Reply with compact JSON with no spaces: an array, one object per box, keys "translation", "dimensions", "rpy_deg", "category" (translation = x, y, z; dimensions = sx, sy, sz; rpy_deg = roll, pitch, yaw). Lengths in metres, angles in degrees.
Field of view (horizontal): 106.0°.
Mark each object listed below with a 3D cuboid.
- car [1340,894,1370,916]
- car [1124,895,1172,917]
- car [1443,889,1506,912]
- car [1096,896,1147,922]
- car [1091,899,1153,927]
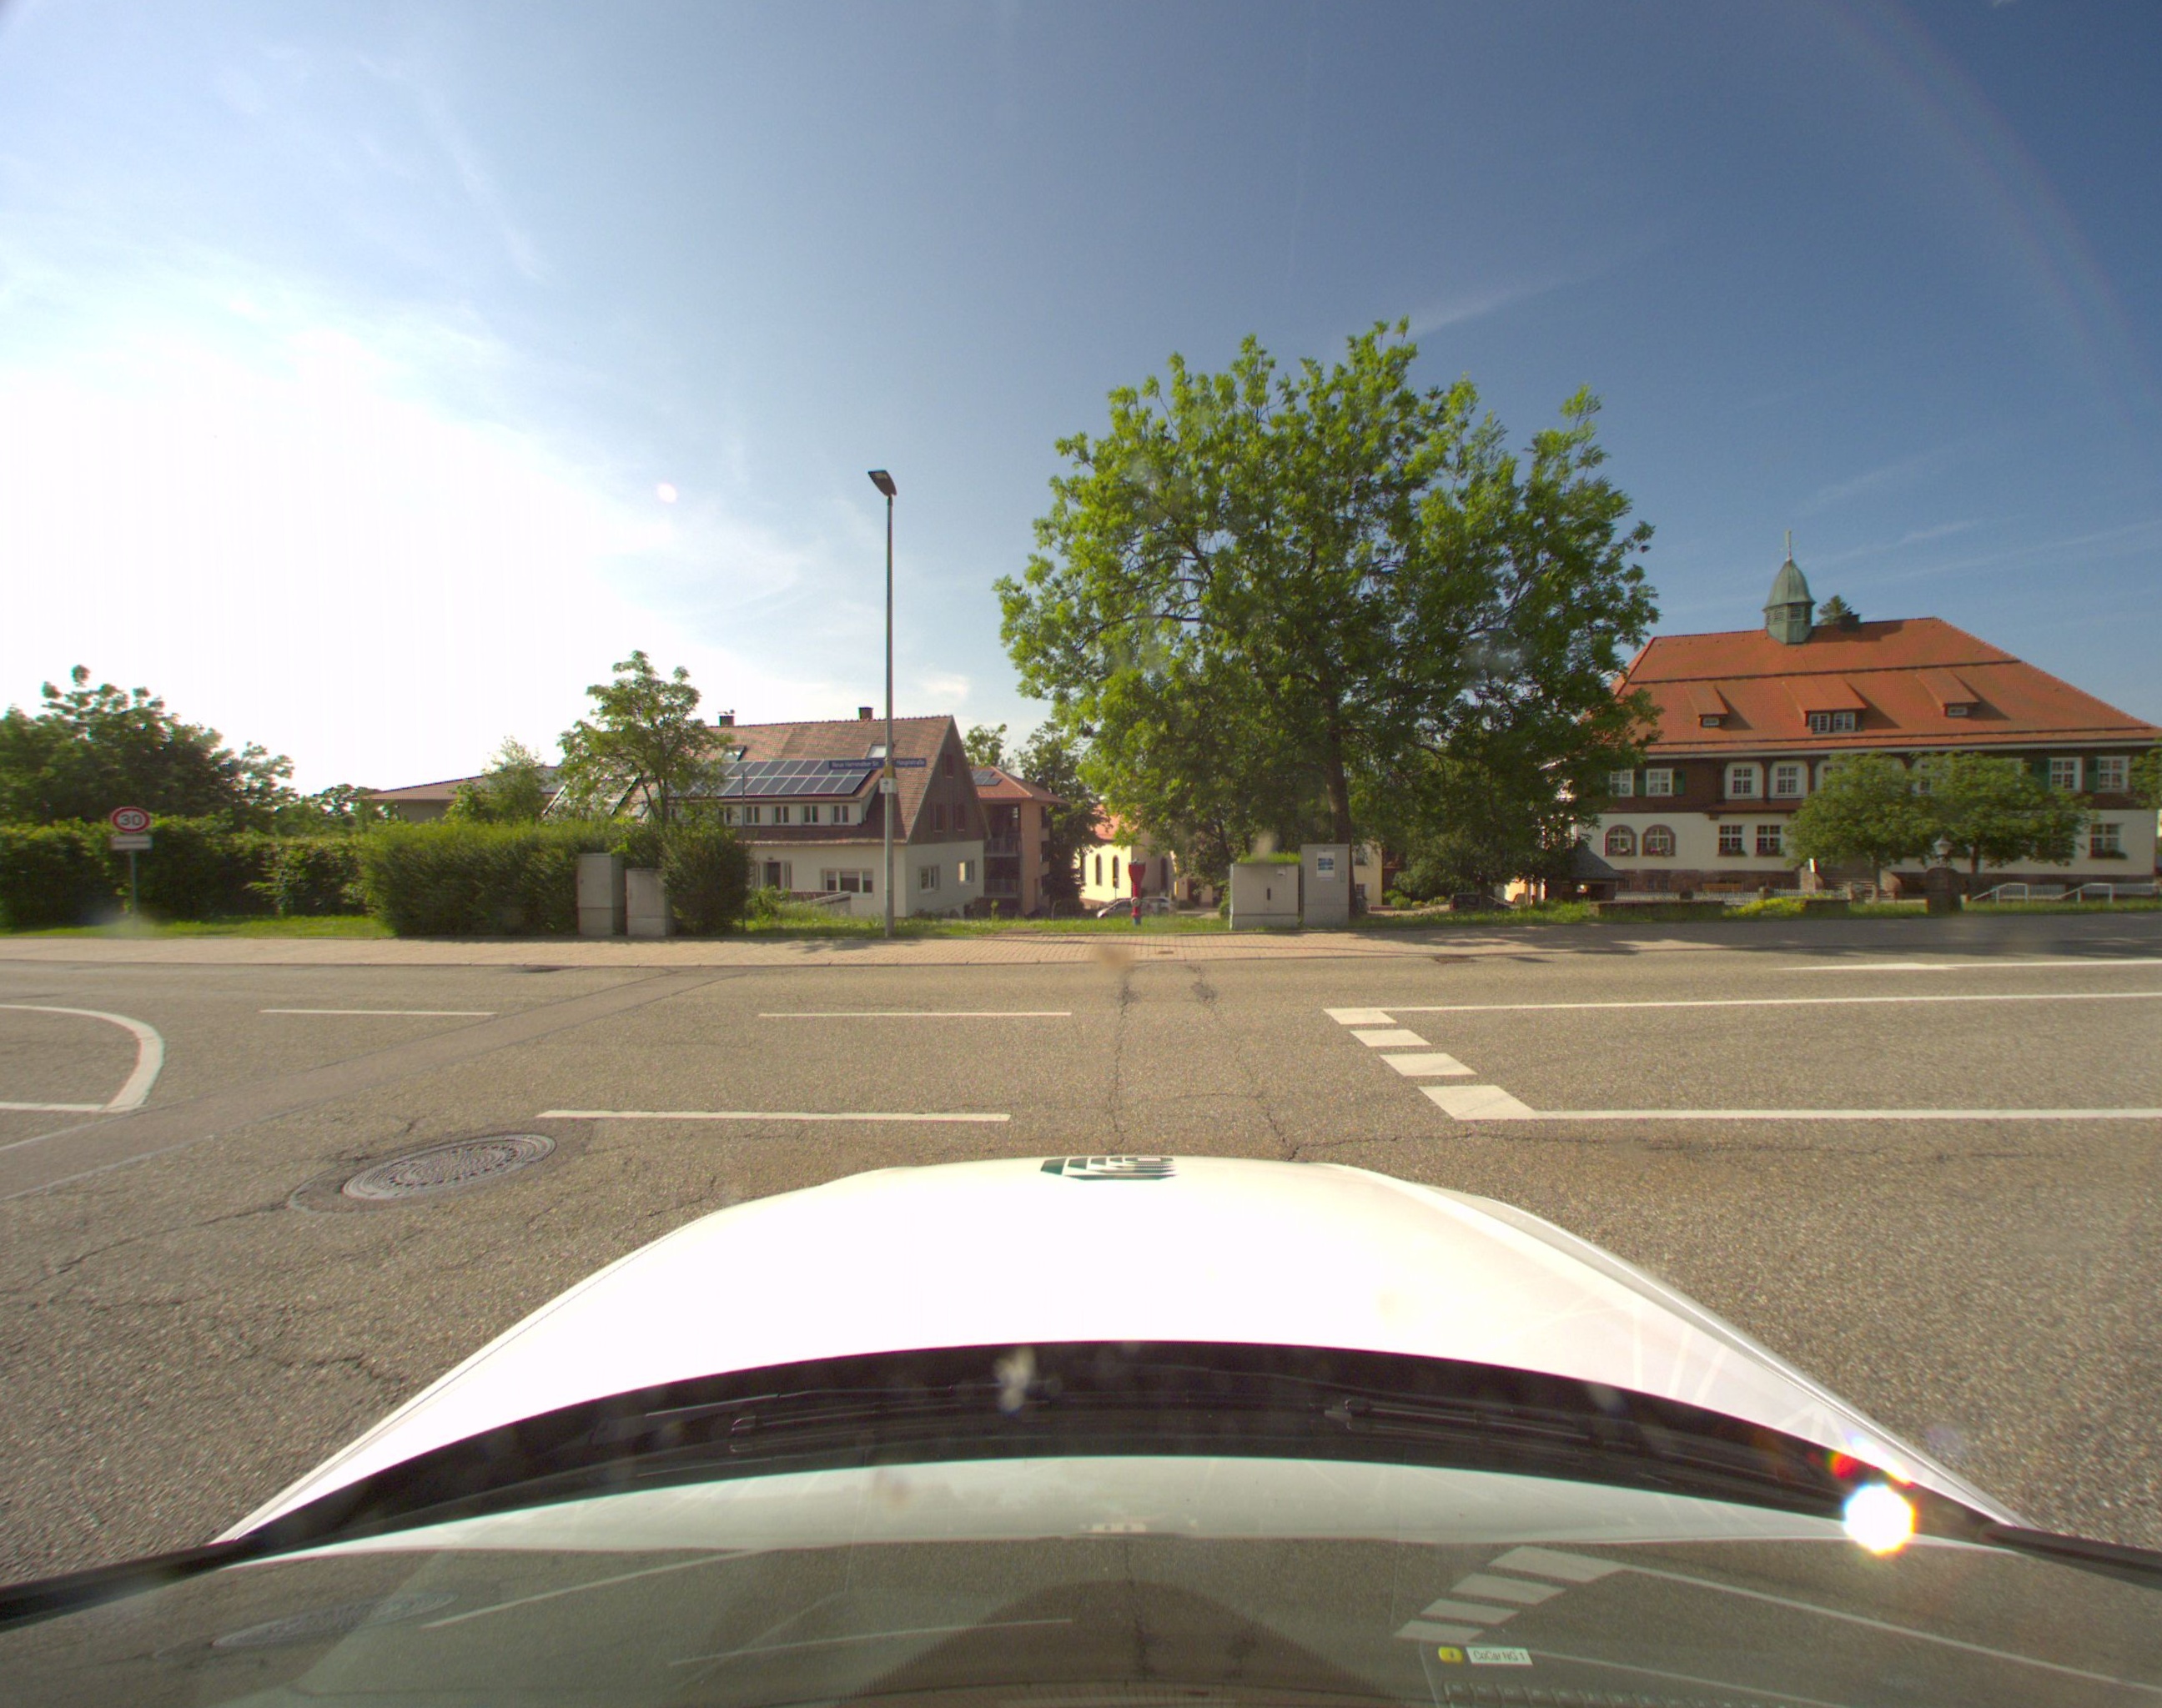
[{"translation":[21.427,3.947,63.806],"dimensions":[1.697,1.542,3.796],"rpy_deg":[-2,-2,11],"category":"car"},{"translation":[5.411,4.203,66.188],"dimensions":[3.759,1.594,1.714],"rpy_deg":[-2,-2,1],"category":"car"},{"translation":[27.386,3.237,56.824],"dimensions":[3.742,1.444,1.722],"rpy_deg":[-2,-2,19],"category":"car"},{"translation":[3.043,4.151,61.389],"dimensions":[3.759,1.758,1.714],"rpy_deg":[-2,-2,1],"category":"car"},{"translation":[2.786,4.031,55.601],"dimensions":[4.075,1.758,1.714],"rpy_deg":[-2,-2,1],"category":"car"}]
